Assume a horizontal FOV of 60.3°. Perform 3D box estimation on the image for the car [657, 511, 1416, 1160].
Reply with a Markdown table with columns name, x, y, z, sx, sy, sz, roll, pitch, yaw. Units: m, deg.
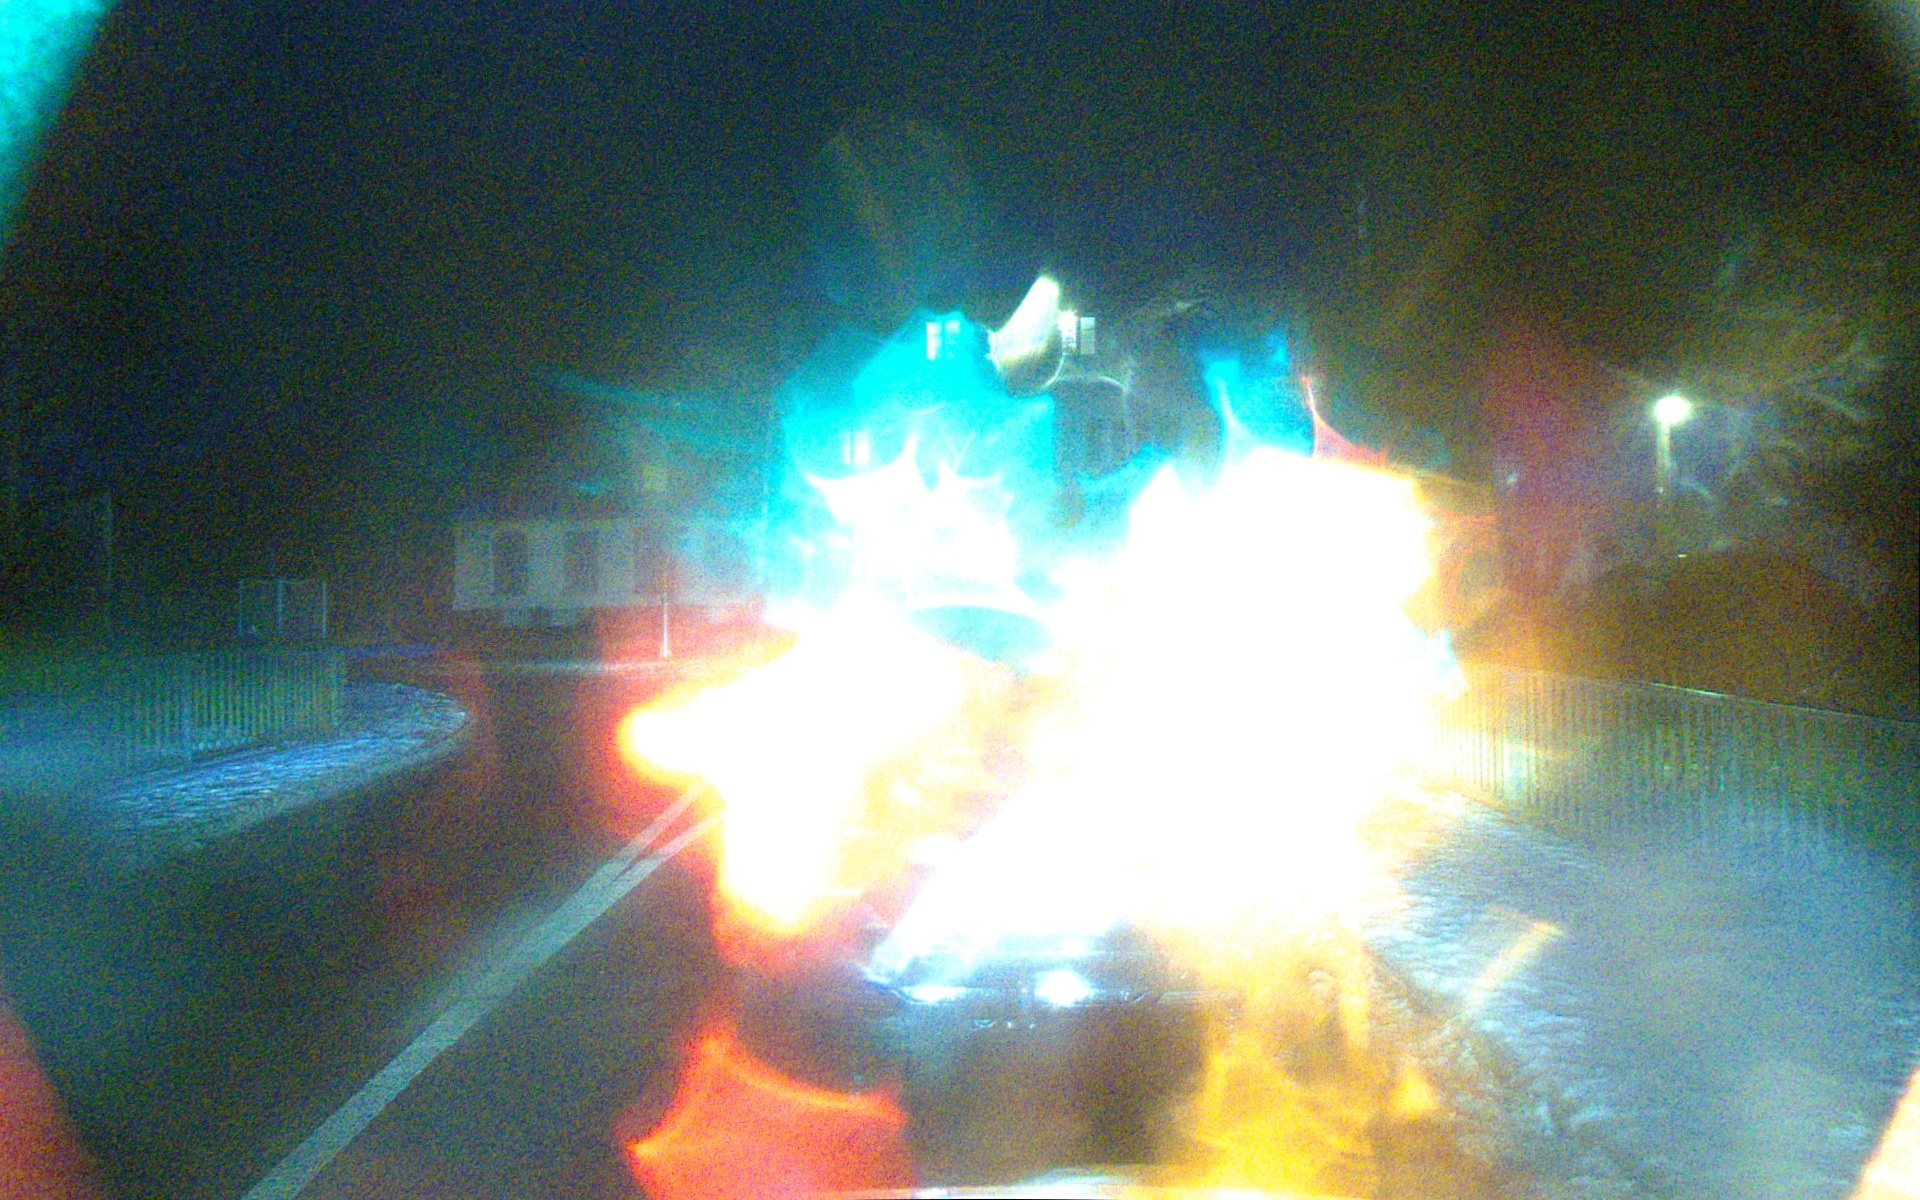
| name | x | y | z | sx | sy | sz | roll | pitch | yaw |
| --- | --- | --- | --- | --- | --- | --- | --- | --- | --- |
| car | 0.184 | 0.638 | 6.540 | 2.016 | 1.707 | 4.138 | 1 | 0 | -1 |

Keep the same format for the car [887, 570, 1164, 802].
| name | x | y | z | sx | sy | sz | roll | pitch | yaw |
| --- | --- | --- | --- | --- | --- | --- | --- | --- | --- |
| car | 0.453 | 0.577 | 13.690 | 1.871 | 1.536 | 4.241 | -3 | 1 | 0 |

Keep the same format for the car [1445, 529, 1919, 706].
| name | x | y | z | sx | sy | sz | roll | pitch | yaw |
| --- | --- | --- | --- | --- | --- | --- | --- | --- | --- |
| car | 7.694 | 0.181 | 18.044 | 4.372 | 1.613 | 1.941 | -3 | 1 | 10 |

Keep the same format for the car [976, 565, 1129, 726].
| name | x | y | z | sx | sy | sz | roll | pitch | yaw |
| --- | --- | --- | --- | --- | --- | --- | --- | --- | --- |
| car | 1.416 | 0.548 | 23.722 | 1.734 | 1.980 | 4.258 | 4 | 2 | 8 |
